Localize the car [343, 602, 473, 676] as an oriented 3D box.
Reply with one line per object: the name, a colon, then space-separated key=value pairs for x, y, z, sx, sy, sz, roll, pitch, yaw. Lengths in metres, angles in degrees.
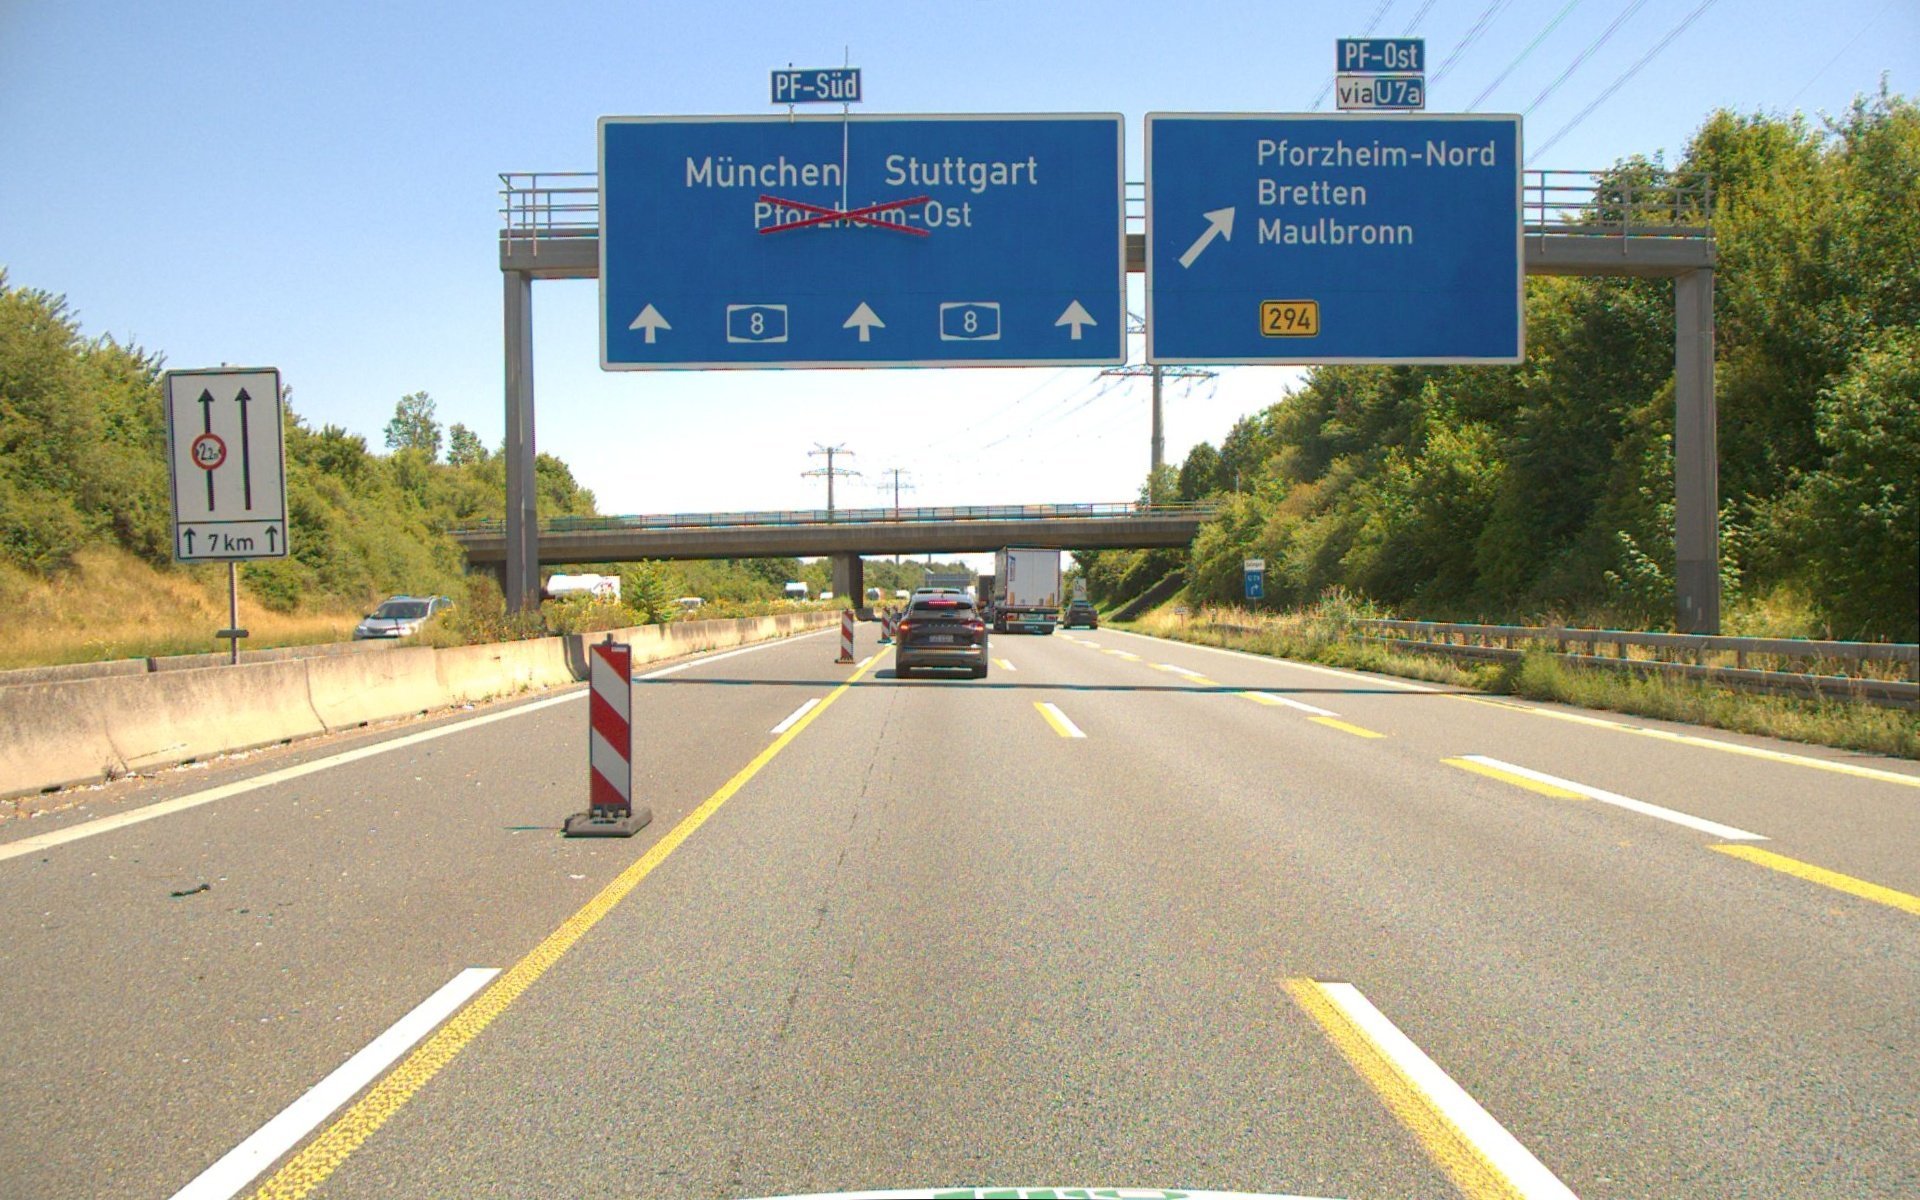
car: x=-14.489 y=0.979 z=43.686 sx=1.953 sy=1.813 sz=4.621 roll=-1 pitch=0 yaw=-1

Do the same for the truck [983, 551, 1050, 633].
truck: x=2.927 y=-0.421 z=88.033 sx=2.964 sy=4.159 sz=7.792 roll=0 pitch=0 yaw=-2

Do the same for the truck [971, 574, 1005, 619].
truck: x=2.672 y=-0.319 z=160.966 sx=3.014 sy=4.219 sz=13.054 roll=1 pitch=0 yaw=0

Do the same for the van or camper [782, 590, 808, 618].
van or camper: x=-19.419 y=0.460 z=194.793 sx=2.517 sy=3.243 sz=6.231 roll=1 pitch=0 yaw=-1

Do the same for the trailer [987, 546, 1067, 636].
trailer: x=3.158 y=-0.412 z=81.193 sx=3.003 sy=4.113 sz=11.482 roll=0 pitch=0 yaw=-2

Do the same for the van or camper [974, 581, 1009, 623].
van or camper: x=2.344 y=0.168 z=124.726 sx=2.533 sy=3.020 sz=6.085 roll=2 pitch=0 yaw=0

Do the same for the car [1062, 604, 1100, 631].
car: x=6.868 y=0.979 z=94.581 sx=1.743 sy=1.515 sz=4.463 roll=1 pitch=0 yaw=-1

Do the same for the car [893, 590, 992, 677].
car: x=-0.401 y=0.613 z=33.429 sx=1.857 sy=1.620 sz=4.441 roll=0 pitch=0 yaw=-2

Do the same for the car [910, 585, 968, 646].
car: x=-0.750 y=0.481 z=56.533 sx=1.857 sy=1.873 sz=4.442 roll=1 pitch=2 yaw=-2

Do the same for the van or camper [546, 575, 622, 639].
van or camper: x=-19.900 y=0.346 z=87.897 sx=2.386 sy=3.202 sz=7.625 roll=-1 pitch=0 yaw=-1
